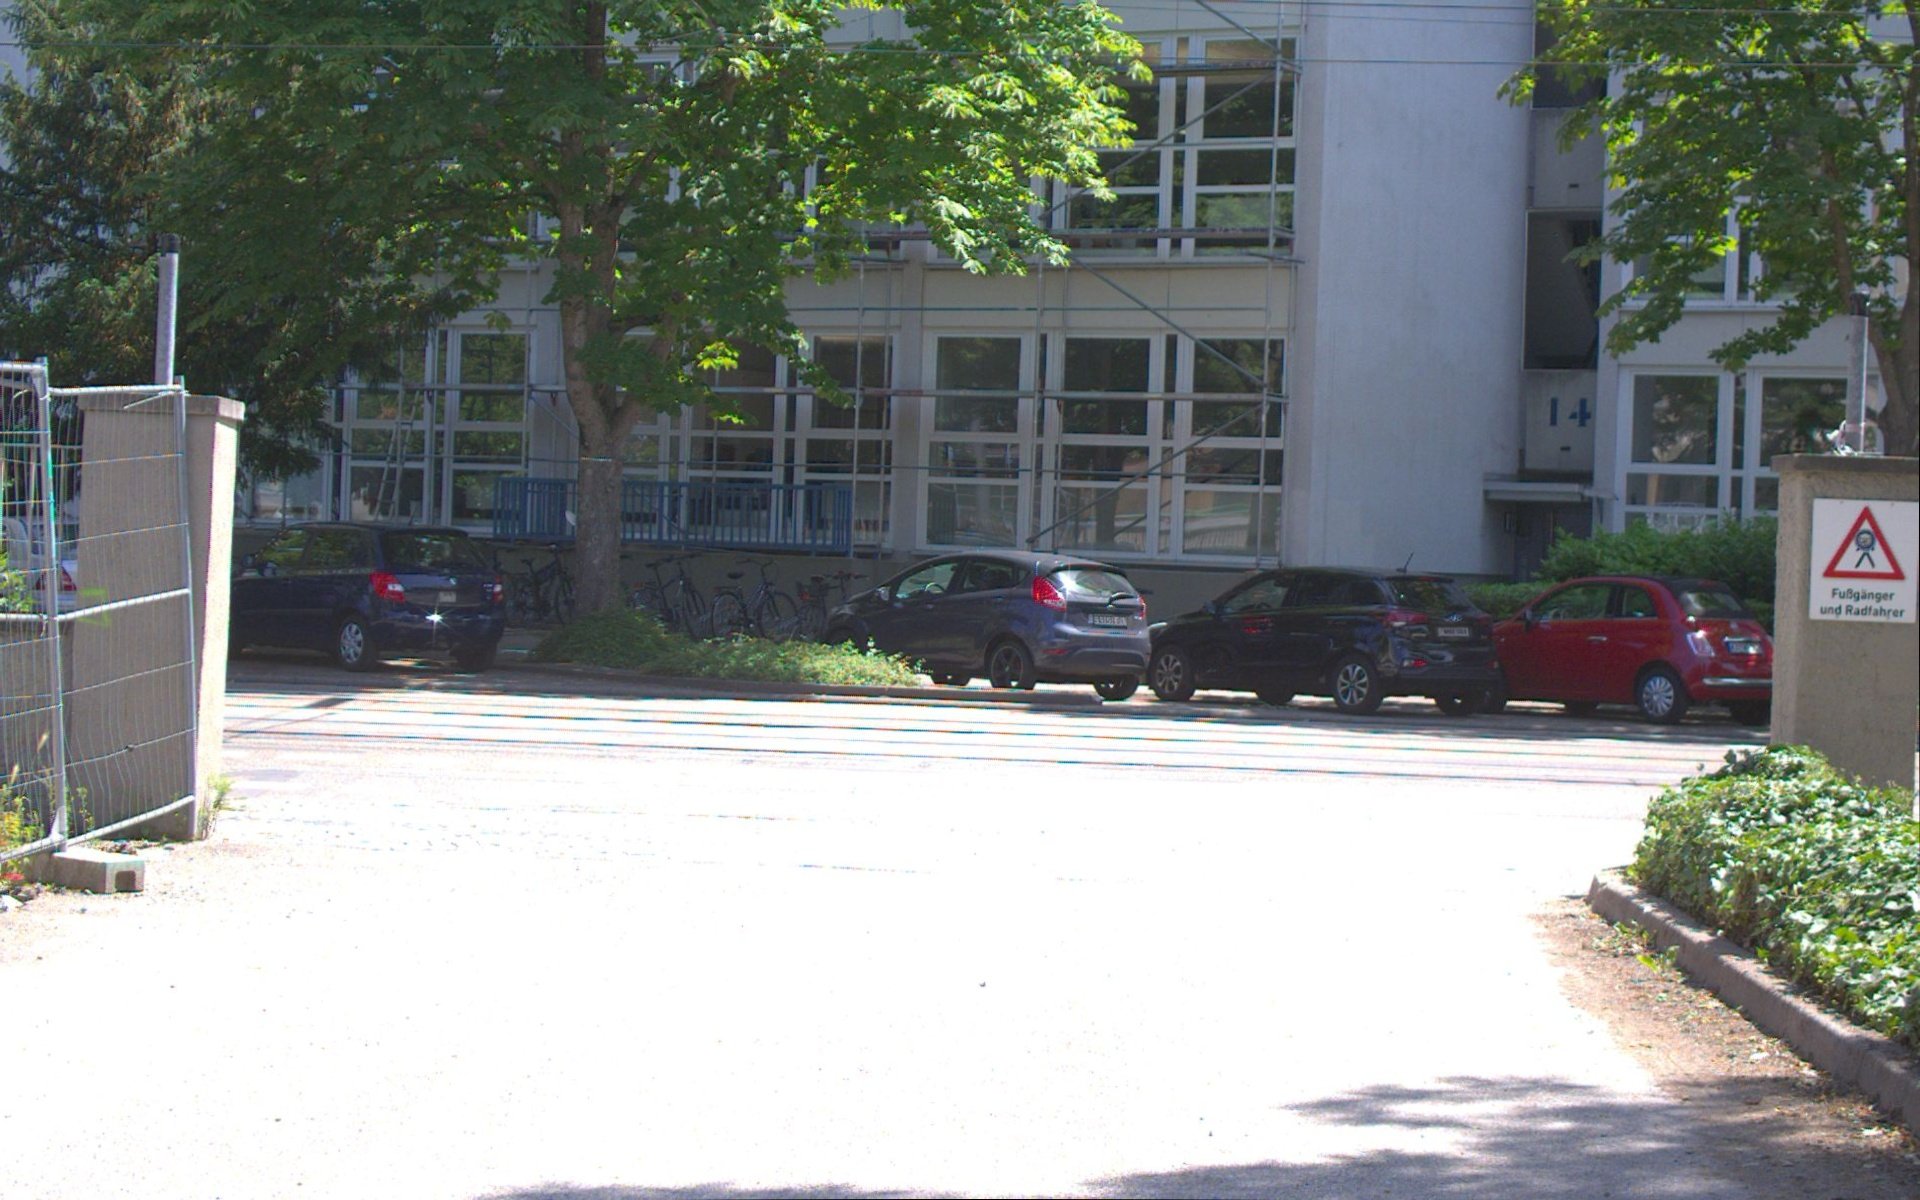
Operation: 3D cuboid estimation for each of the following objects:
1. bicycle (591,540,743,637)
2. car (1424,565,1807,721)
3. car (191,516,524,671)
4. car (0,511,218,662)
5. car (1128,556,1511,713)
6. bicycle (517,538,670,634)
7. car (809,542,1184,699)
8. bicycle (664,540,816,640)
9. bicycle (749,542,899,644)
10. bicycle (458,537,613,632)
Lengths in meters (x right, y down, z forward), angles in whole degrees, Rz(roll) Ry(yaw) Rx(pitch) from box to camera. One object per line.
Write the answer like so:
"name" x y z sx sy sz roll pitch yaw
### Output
"bicycle" -3.617 -0.142 42.690 0.781 1.154 2.381 2 1 25
"car" 6.670 0.409 35.219 1.607 1.432 3.602 1 1 -41
"car" -6.228 -0.089 35.300 1.634 1.458 3.676 1 1 -42
"car" -9.304 -0.172 35.354 1.634 1.458 3.676 1 1 -42
"car" 3.627 0.321 35.081 1.608 1.440 3.676 1 1 -44
"bicycle" -4.574 -0.182 43.066 0.781 1.154 2.381 2 1 25
"car" 0.340 0.181 35.369 3.675 1.458 1.640 2 1 43
"bicycle" -2.690 -0.127 42.292 0.781 1.184 2.429 2 1 25
"bicycle" -1.636 -0.093 41.874 0.781 1.184 2.429 2 1 25
"bicycle" -5.338 -0.201 43.407 0.781 1.154 2.381 2 1 25
